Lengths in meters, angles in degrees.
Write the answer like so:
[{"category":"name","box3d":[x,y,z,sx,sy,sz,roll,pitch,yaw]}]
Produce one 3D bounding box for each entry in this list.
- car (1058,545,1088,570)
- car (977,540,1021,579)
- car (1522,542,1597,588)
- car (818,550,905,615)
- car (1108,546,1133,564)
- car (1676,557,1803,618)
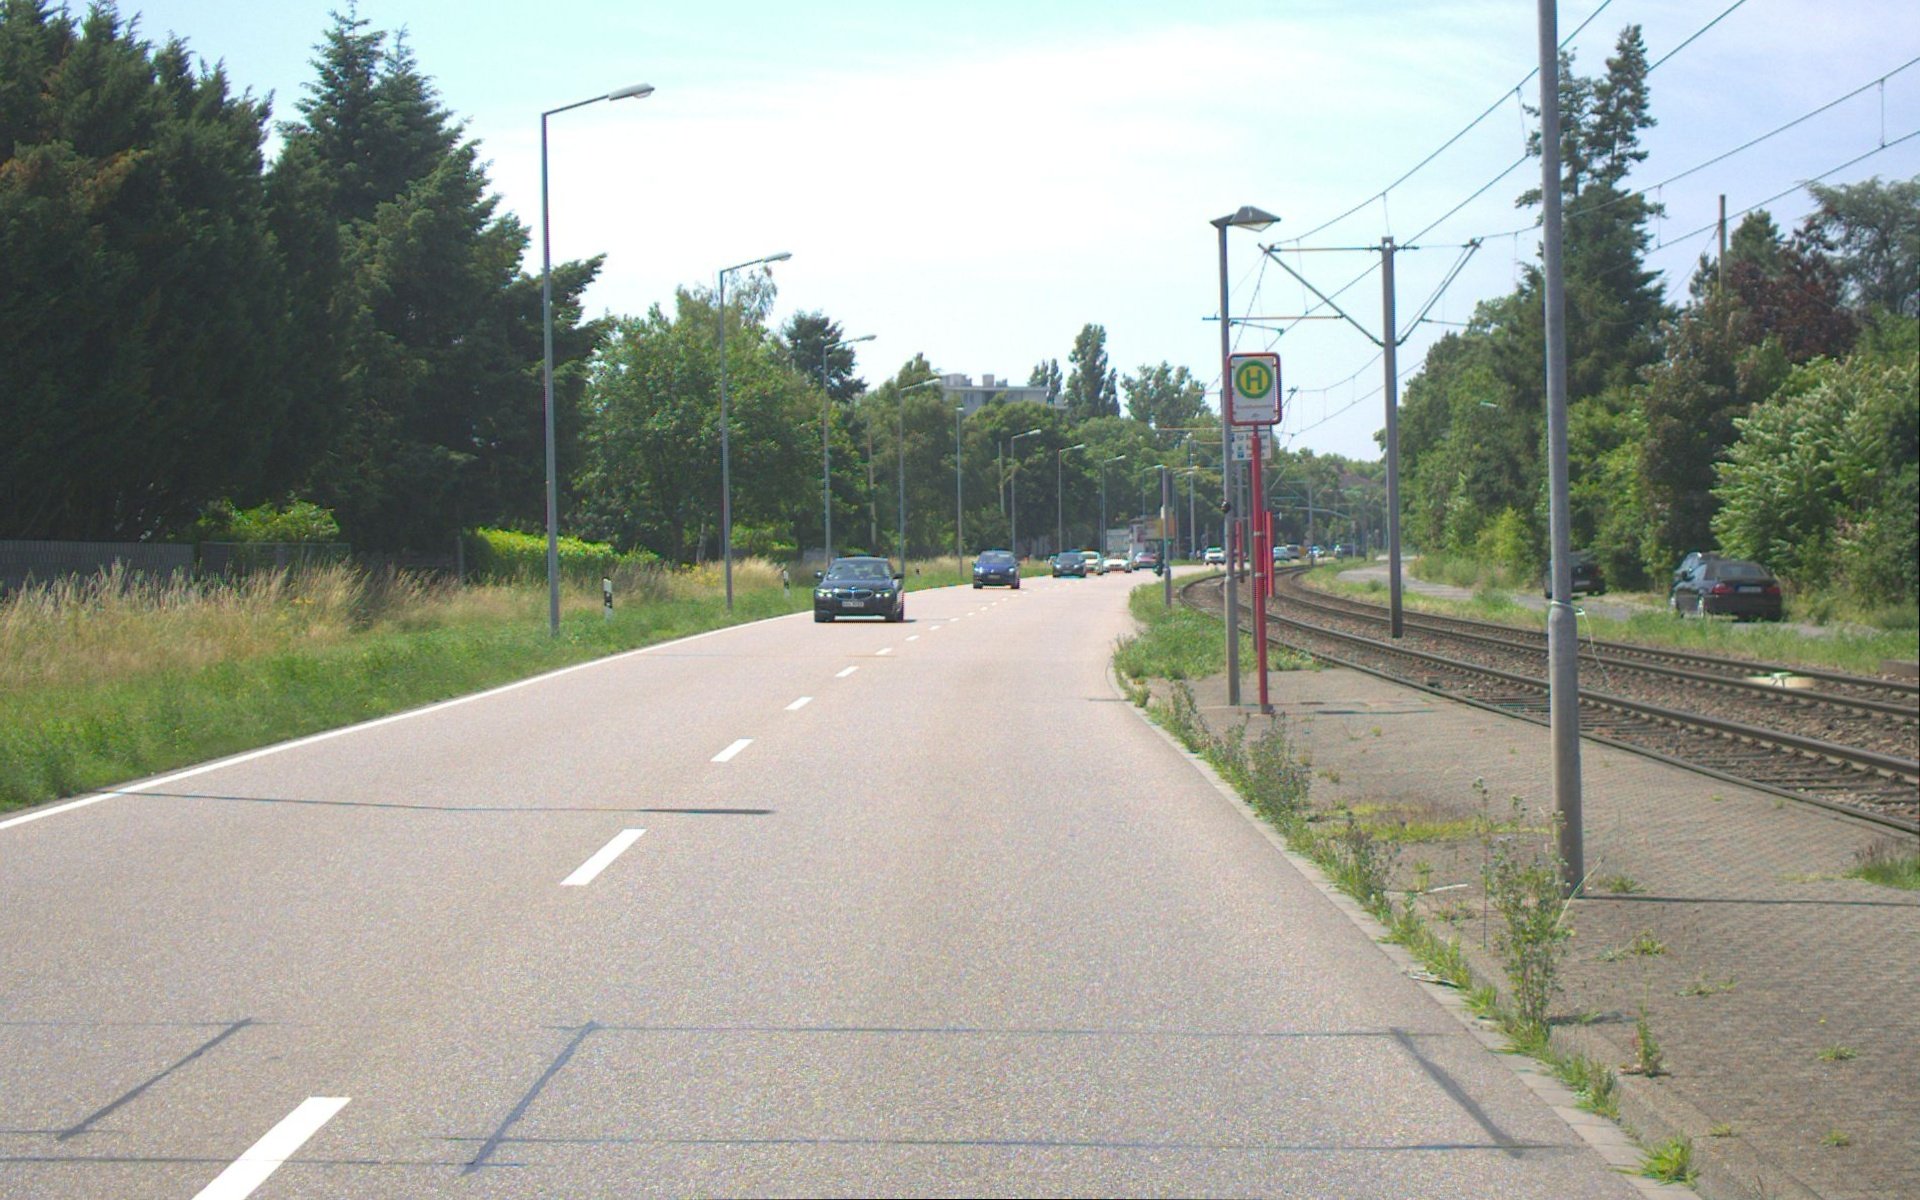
[{"category":"car","box3d":[6.686,-2.508,202.928,1.700,1.486,4.440,0,1,3]},{"category":"car","box3d":[1.668,-1.735,146.802,1.747,1.626,4.029,0,1,2]},{"category":"car","box3d":[19.250,-1.133,110.559,1.914,1.465,4.000,0,1,3]},{"category":"car","box3d":[-2.192,-0.410,77.634,1.706,1.400,4.707,0,1,2]},{"category":"car","box3d":[11.169,-3.110,238.596,1.682,1.245,3.909,0,1,3]},{"category":"car","box3d":[17.433,-0.300,77.060,1.861,1.325,4.515,0,1,1]}]
